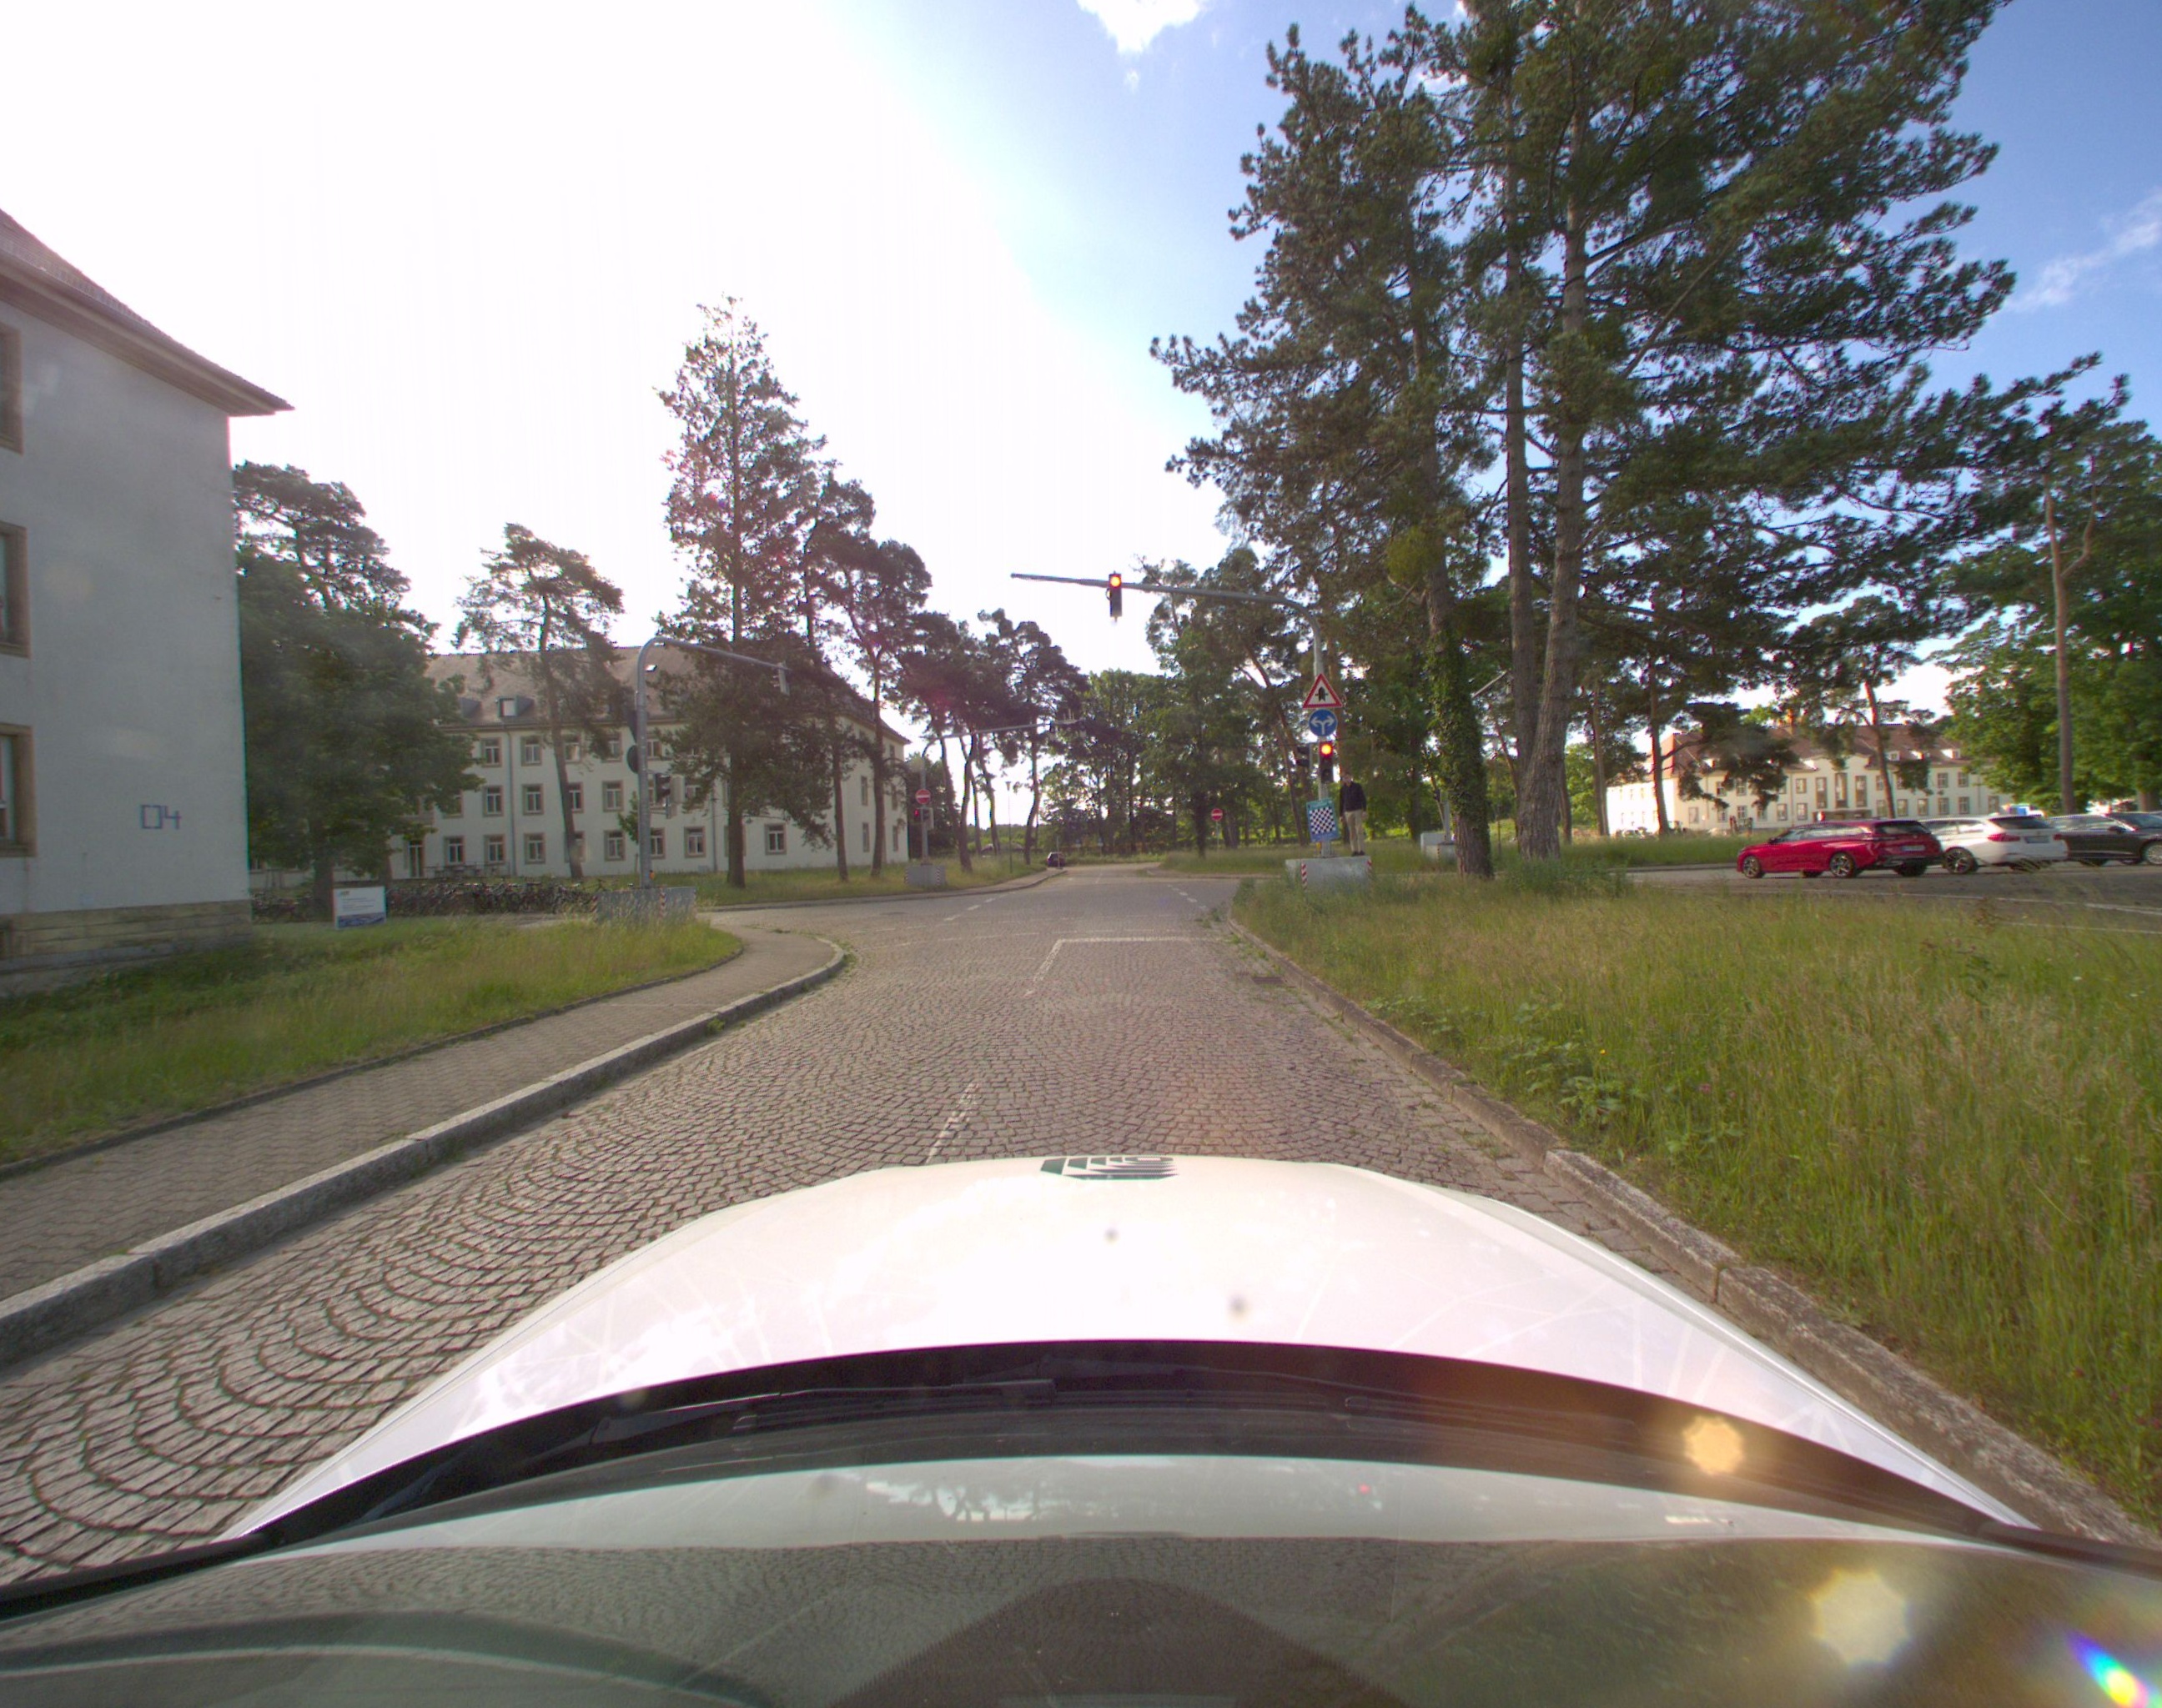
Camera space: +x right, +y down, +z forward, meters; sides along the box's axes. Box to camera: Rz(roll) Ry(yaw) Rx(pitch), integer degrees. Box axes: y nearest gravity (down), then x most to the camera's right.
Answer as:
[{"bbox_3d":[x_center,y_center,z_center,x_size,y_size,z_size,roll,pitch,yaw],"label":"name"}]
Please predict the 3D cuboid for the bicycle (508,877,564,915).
[{"bbox_3d":[-19.679,1.485,29.462,0.576,1.220,2.030,-2,0,2],"label":"bicycle"}]

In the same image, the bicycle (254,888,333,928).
[{"bbox_3d":[-27.083,1.842,28.048,1.836,1.220,0.510,-3,0,-34],"label":"bicycle"}]

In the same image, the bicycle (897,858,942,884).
[{"bbox_3d":[-7.095,0.734,35.854,0.627,1.066,1.963,-2,0,40],"label":"bicycle"}]

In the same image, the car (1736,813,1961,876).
[{"bbox_3d":[19.252,-0.191,20.753,1.740,1.399,4.329,-1,-1,2],"label":"car"}]

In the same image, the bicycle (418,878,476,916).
[{"bbox_3d":[-23.006,1.543,29.595,0.512,1.220,1.938,-2,0,2],"label":"bicycle"}]

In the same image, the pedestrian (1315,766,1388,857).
[{"bbox_3d":[5.717,-0.883,17.185,1.157,1.796,1.069,-3,0,31],"label":"pedestrian"}]

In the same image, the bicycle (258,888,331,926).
[{"bbox_3d":[-28.538,1.896,29.574,0.509,1.220,1.841,-2,0,39],"label":"bicycle"}]

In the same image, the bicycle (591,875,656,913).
[{"bbox_3d":[-15.776,1.369,28.115,1.855,1.220,0.635,-2,0,1],"label":"bicycle"}]

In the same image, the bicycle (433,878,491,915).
[{"bbox_3d":[-22.452,1.532,29.574,0.512,1.220,1.955,-2,0,2],"label":"bicycle"}]

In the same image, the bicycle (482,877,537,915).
[{"bbox_3d":[-20.759,1.504,29.629,0.512,1.220,2.016,-2,0,2],"label":"bicycle"}]

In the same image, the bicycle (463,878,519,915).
[{"bbox_3d":[-21.408,1.517,29.594,0.512,1.220,1.978,-2,0,2],"label":"bicycle"}]

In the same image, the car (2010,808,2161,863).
[{"bbox_3d":[27.198,-0.487,21.141,1.610,1.315,4.048,-3,0,3],"label":"car"}]

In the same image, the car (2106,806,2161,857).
[{"bbox_3d":[30.092,-0.616,21.393,1.716,1.372,3.796,-1,0,4],"label":"car"}]

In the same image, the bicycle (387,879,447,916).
[{"bbox_3d":[-24.143,1.565,29.657,0.512,1.220,1.938,-2,0,2],"label":"bicycle"}]

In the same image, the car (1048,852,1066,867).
[{"bbox_3d":[-2.537,0.530,85.168,1.704,1.496,3.918,-2,0,0],"label":"car"}]

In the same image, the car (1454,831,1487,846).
[{"bbox_3d":[42.915,-1.695,89.818,1.820,1.582,4.165,-2,0,2],"label":"car"}]

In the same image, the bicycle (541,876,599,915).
[{"bbox_3d":[-18.093,1.455,28.917,0.630,1.220,2.105,-2,0,2],"label":"bicycle"}]

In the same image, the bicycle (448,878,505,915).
[{"bbox_3d":[-21.925,1.524,29.597,0.512,1.220,1.978,-2,0,2],"label":"bicycle"}]

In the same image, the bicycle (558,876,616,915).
[{"bbox_3d":[-17.490,1.443,28.898,0.630,1.220,2.125,-2,0,2],"label":"bicycle"}]

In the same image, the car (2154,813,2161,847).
[{"bbox_3d":[44.848,-0.985,31.298,1.717,1.424,4.243,-1,0,2],"label":"car"}]

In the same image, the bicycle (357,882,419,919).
[{"bbox_3d":[-25.213,1.678,29.668,0.512,1.220,1.938,-2,0,2],"label":"bicycle"}]

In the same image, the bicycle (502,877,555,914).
[{"bbox_3d":[-20.237,1.492,29.894,0.546,1.220,1.900,-2,0,2],"label":"bicycle"}]

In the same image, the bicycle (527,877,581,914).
[{"bbox_3d":[-18.936,1.469,29.318,0.570,1.220,1.990,-2,0,2],"label":"bicycle"}]

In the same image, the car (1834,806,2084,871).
[{"bbox_3d":[22.091,-0.319,20.784,1.773,1.379,4.240,-2,-2,0],"label":"car"}]

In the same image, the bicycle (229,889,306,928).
[{"bbox_3d":[-28.575,1.901,28.640,0.509,1.220,1.841,-2,0,39],"label":"bicycle"}]

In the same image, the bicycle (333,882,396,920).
[{"bbox_3d":[-26.090,1.696,29.691,0.512,1.220,1.938,-2,0,2],"label":"bicycle"}]

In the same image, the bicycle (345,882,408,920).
[{"bbox_3d":[-25.642,1.687,29.676,0.512,1.220,1.938,-2,0,2],"label":"bicycle"}]

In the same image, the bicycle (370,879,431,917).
[{"bbox_3d":[-24.753,1.577,29.656,0.512,1.220,1.938,-2,0,2],"label":"bicycle"}]

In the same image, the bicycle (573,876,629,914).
[{"bbox_3d":[-17.006,1.432,28.898,0.630,1.220,2.115,-2,0,2],"label":"bicycle"}]

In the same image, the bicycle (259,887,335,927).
[{"bbox_3d":[-27.465,1.839,28.563,1.836,1.220,0.510,-3,0,-34],"label":"bicycle"}]

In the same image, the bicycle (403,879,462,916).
[{"bbox_3d":[-23.551,1.553,29.627,0.512,1.220,1.938,-2,0,2],"label":"bicycle"}]
